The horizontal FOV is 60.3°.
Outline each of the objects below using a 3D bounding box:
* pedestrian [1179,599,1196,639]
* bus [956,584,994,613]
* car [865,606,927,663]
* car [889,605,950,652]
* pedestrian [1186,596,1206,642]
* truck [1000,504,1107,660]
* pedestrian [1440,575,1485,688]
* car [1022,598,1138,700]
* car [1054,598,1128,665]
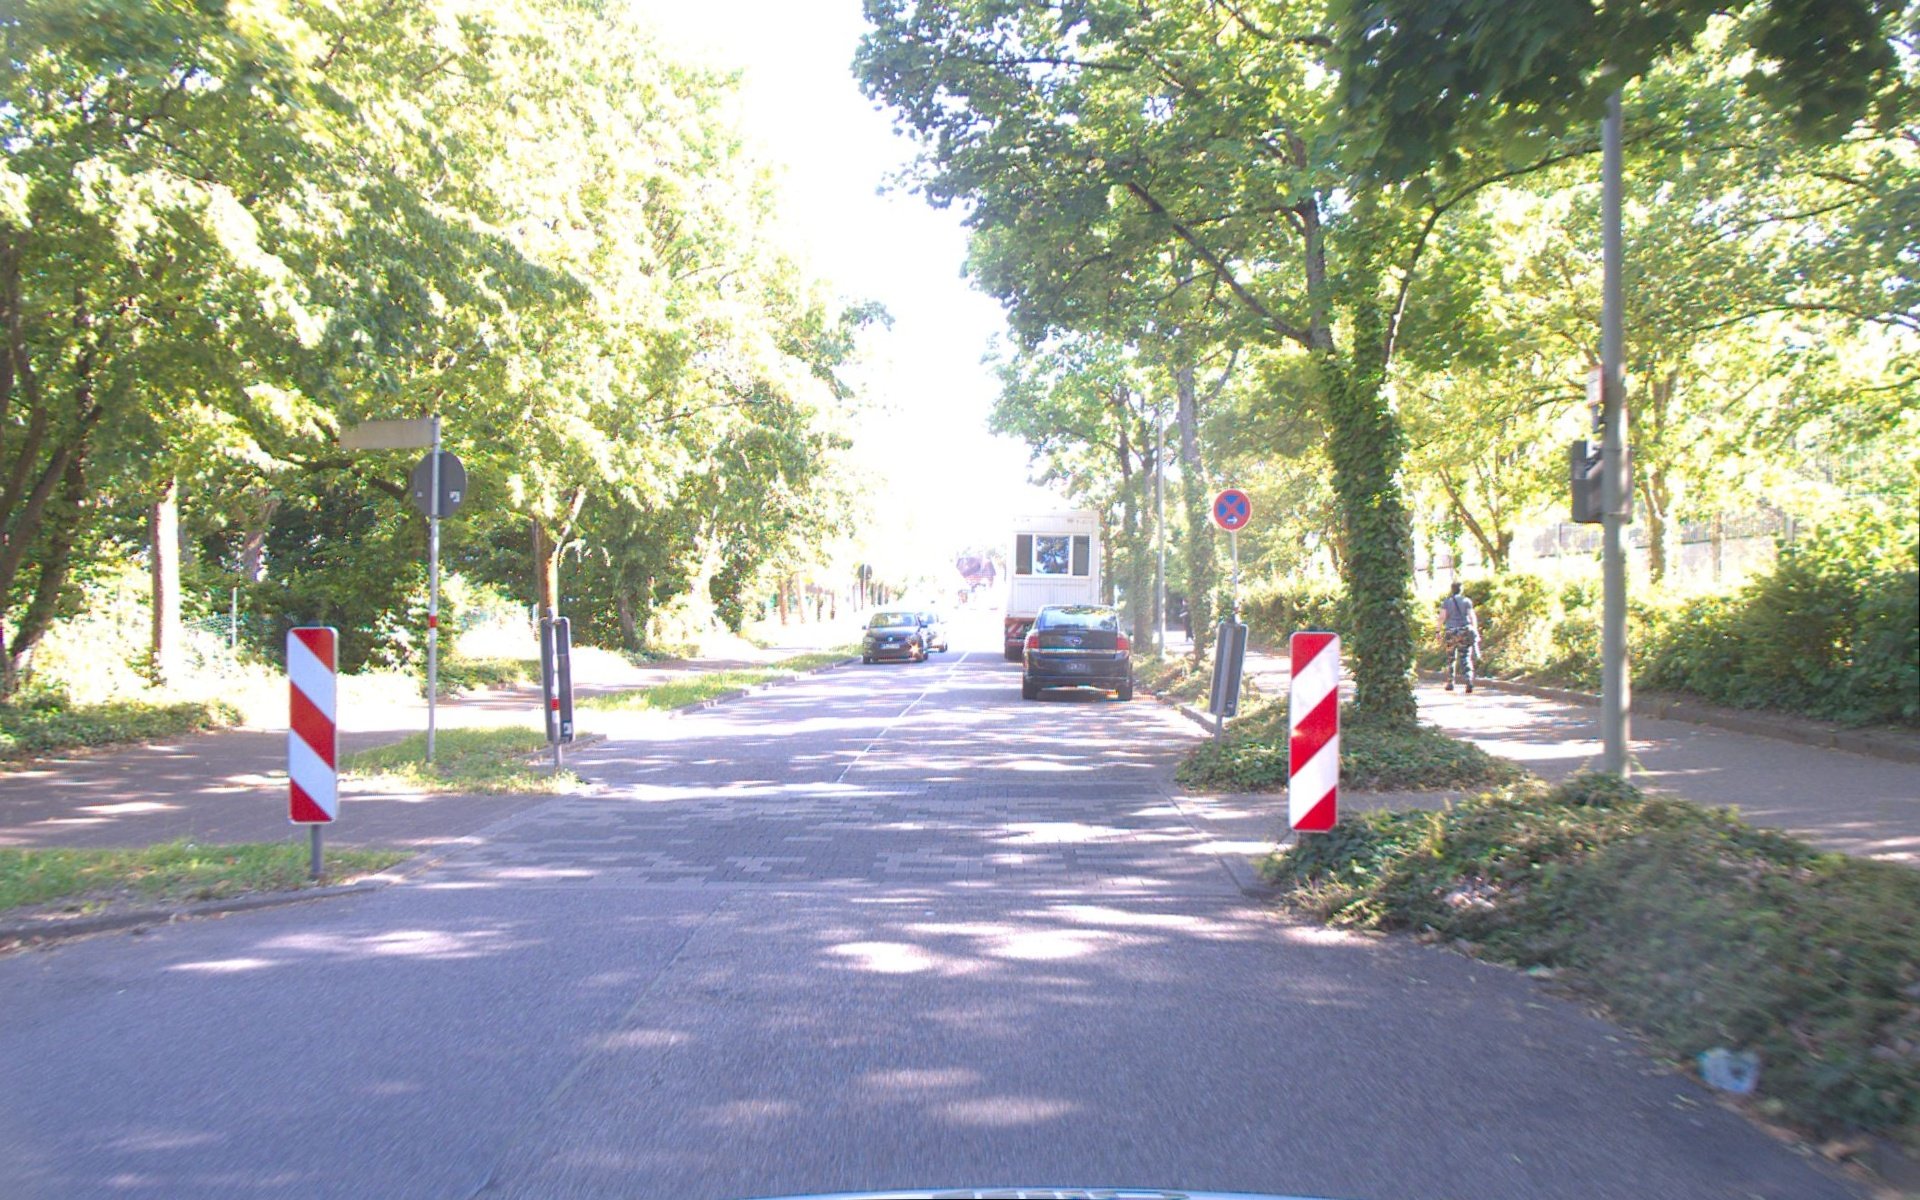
[{"bbox_3d":[9.331,0.768,67.797,0.586,1.639,0.600,-1,0,-1],"label":"pedestrian"},{"bbox_3d":[1.869,-0.229,203.906,3.980,3.407,9.805,-1,0,4],"label":"bus"},{"bbox_3d":[-1.747,0.930,45.961,1.568,1.451,3.651,-2,0,-1],"label":"car"},{"bbox_3d":[-1.354,0.956,56.629,1.719,1.479,4.244,-2,0,3],"label":"car"},{"bbox_3d":[9.677,0.767,67.814,0.684,1.844,0.700,-1,0,-1],"label":"pedestrian"},{"bbox_3d":[2.594,-0.487,48.776,2.715,4.066,10.350,1,0,1],"label":"truck"},{"bbox_3d":[7.404,0.457,24.376,0.559,1.636,0.672,0,0,11],"label":"pedestrian"},{"bbox_3d":[1.908,0.751,26.636,1.712,1.506,4.032,0,-1,4],"label":"car"},{"bbox_3d":[3.065,0.697,38.941,1.605,1.445,4.002,-2,0,4],"label":"car"}]
